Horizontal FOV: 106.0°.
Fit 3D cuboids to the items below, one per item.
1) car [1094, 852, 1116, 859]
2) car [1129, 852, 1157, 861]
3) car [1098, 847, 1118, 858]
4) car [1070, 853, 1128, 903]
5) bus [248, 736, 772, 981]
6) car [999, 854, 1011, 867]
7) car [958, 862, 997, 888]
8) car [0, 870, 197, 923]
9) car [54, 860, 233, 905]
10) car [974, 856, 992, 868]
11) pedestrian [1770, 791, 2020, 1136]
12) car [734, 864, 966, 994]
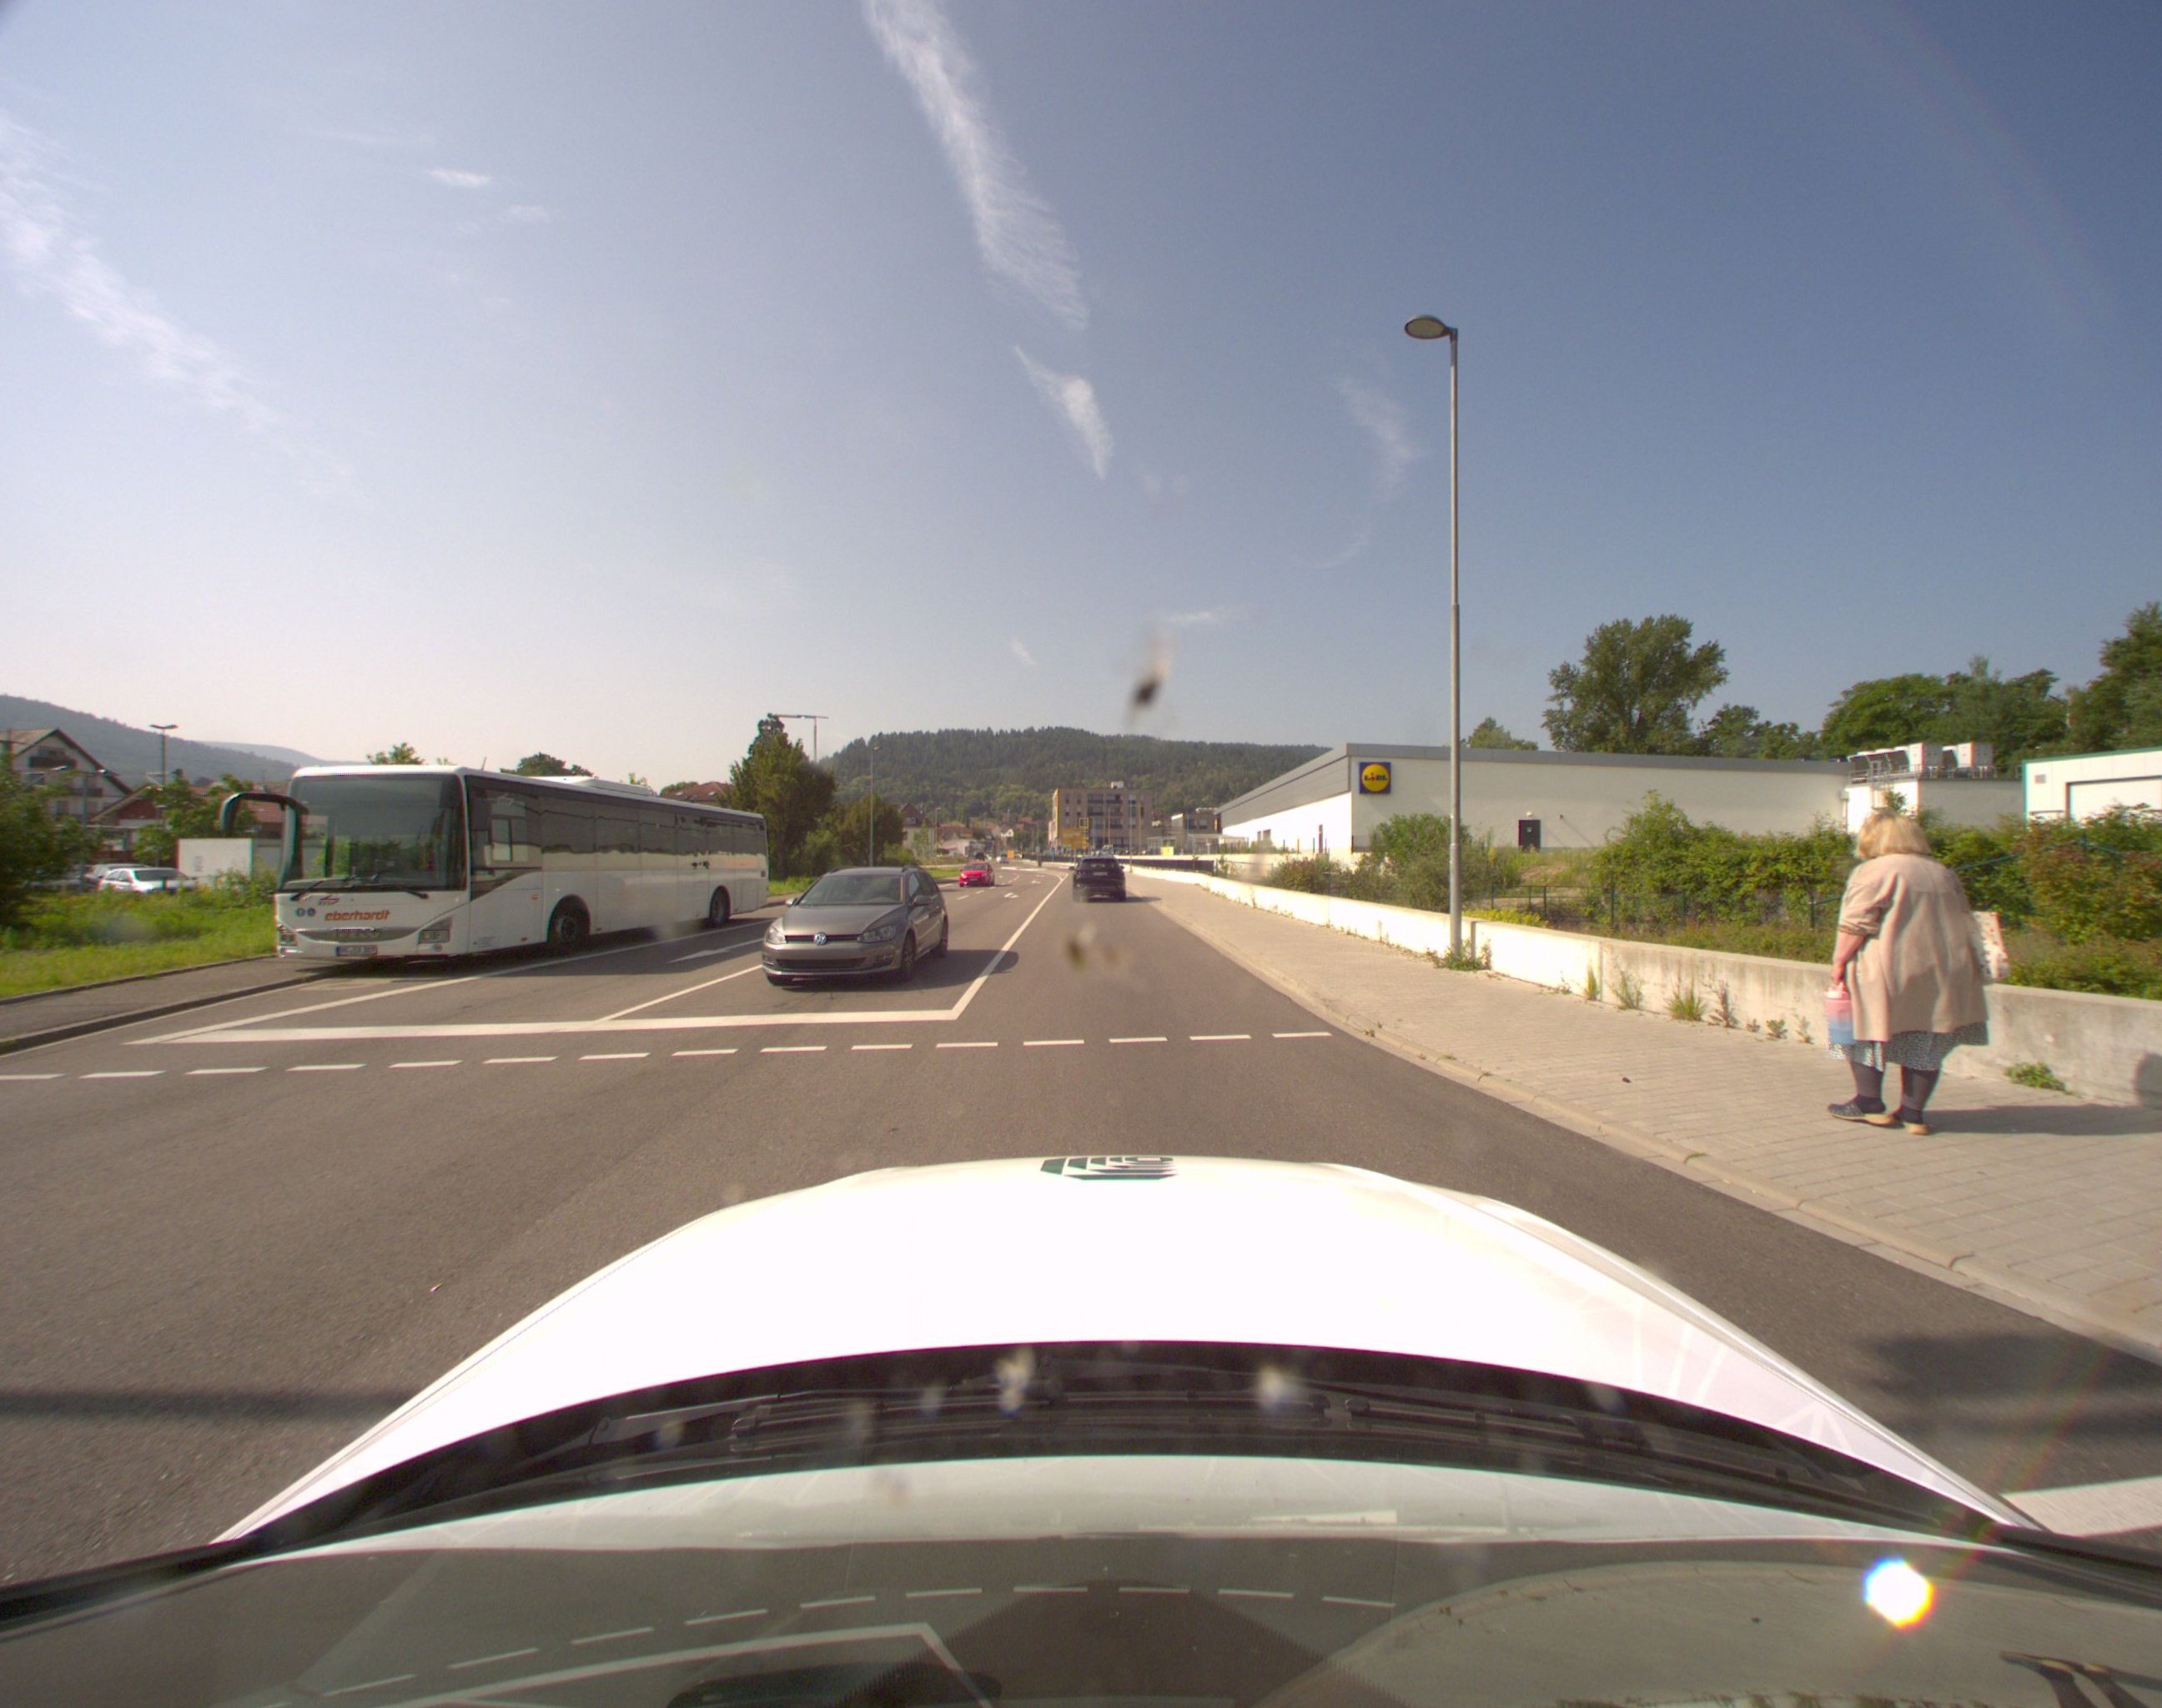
[{"bbox_3d":[4.226,0.299,145.713,3.566,1.199,1.704,0,0,-19],"label":"car"},{"bbox_3d":[9.757,0.409,127.953,4.074,1.404,1.476,0,0,-19],"label":"car"},{"bbox_3d":[5.327,-0.317,161.535,3.971,2.136,2.001,-1,-1,2],"label":"car"},{"bbox_3d":[0.737,0.843,29.851,1.872,1.684,4.005,-1,-1,4],"label":"car"},{"bbox_3d":[-10.029,0.128,17.062,2.613,3.310,11.952,-1,-1,-1],"label":"bus"},{"bbox_3d":[-12.699,1.113,135.711,1.991,2.014,3.991,-1,-1,-6],"label":"car"},{"bbox_3d":[-6.282,1.255,49.718,1.832,1.492,4.430,-1,-1,-1],"label":"car"},{"bbox_3d":[-25.614,1.060,21.212,1.304,1.238,3.476,-1,-1,2],"label":"car"},{"bbox_3d":[-33.881,1.008,29.545,3.979,1.551,1.997,-1,-1,-4],"label":"car"},{"bbox_3d":[-17.769,1.427,147.732,1.980,2.014,4.013,-1,-1,12],"label":"car"},{"bbox_3d":[4.266,0.536,4.326,0.705,1.671,0.595,-1,-1,14],"label":"pedestrian"},{"bbox_3d":[-2.956,0.885,11.441,1.764,1.473,4.224,-1,-1,4],"label":"car"}]
